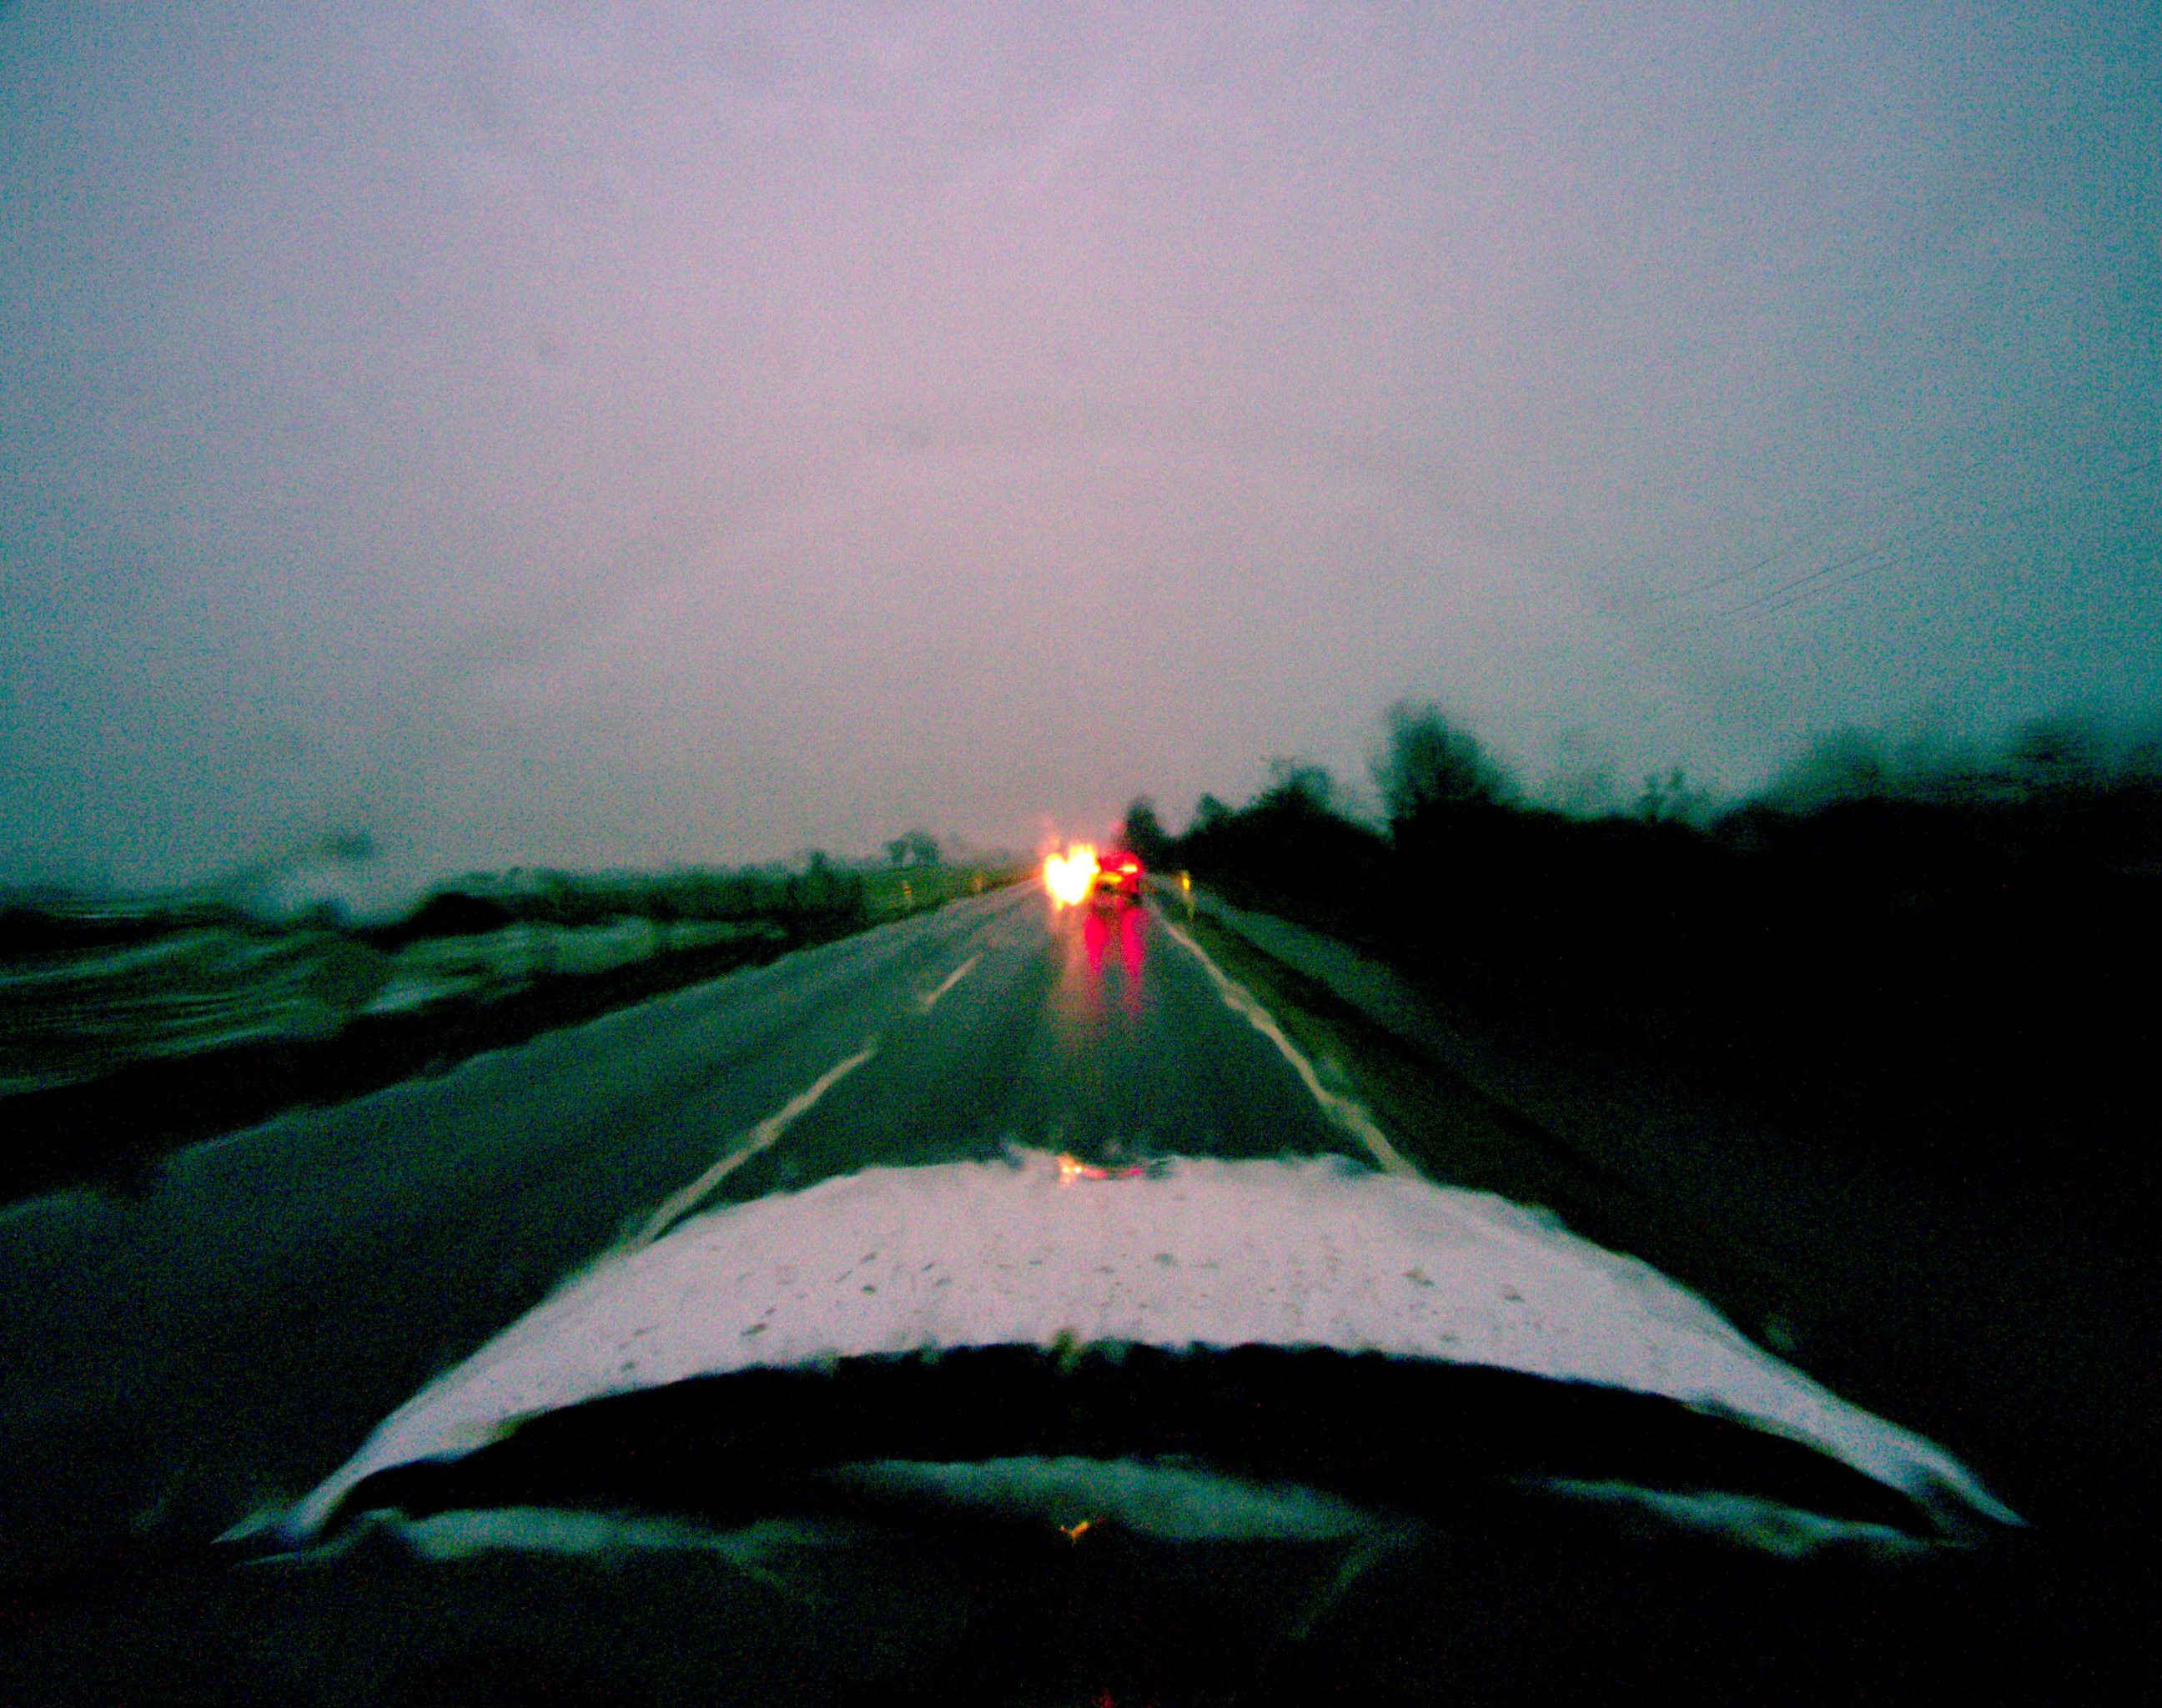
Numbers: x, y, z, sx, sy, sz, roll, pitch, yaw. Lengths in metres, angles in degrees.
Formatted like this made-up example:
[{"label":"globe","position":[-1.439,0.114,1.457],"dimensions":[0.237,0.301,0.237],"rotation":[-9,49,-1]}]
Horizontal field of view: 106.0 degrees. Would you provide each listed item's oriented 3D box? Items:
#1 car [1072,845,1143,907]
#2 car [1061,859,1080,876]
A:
[{"label":"car","position":[0.886,0.736,27.145],"dimensions":[2.112,1.820,4.981],"rotation":[-1,-2,2]},{"label":"car","position":[-1.121,1.400,86.314],"dimensions":[1.789,1.686,4.187],"rotation":[-3,0,1]}]
